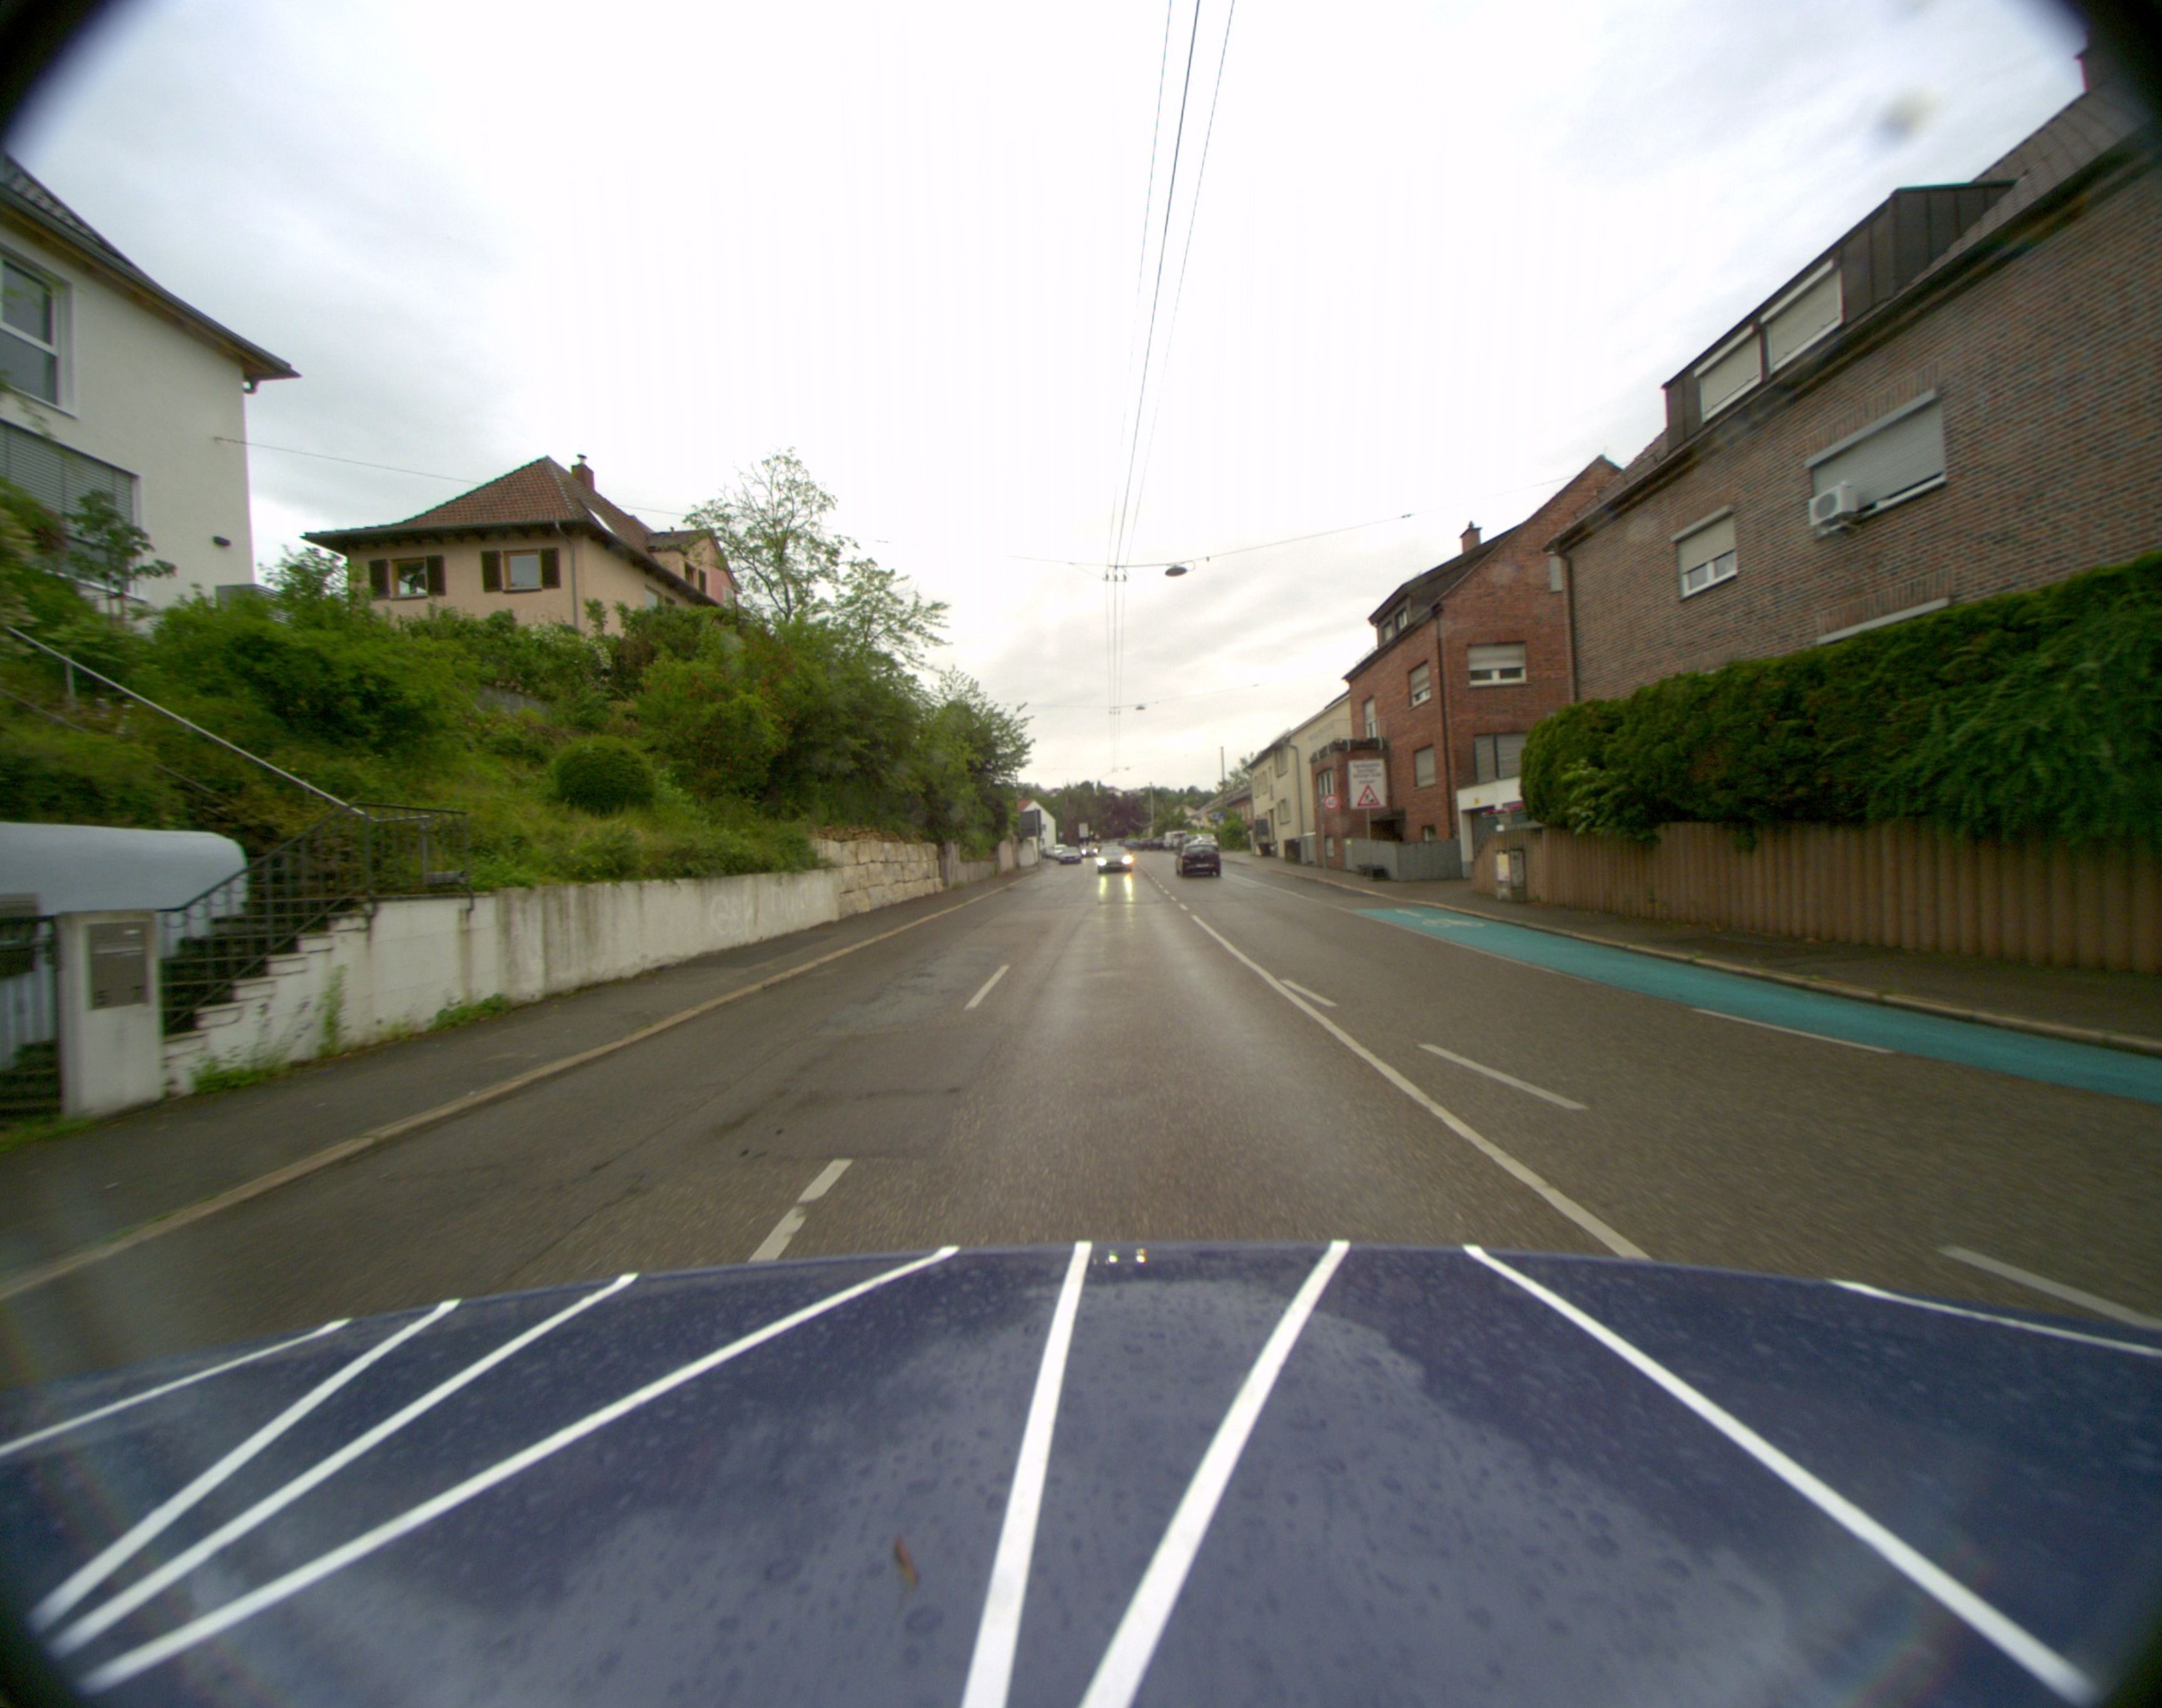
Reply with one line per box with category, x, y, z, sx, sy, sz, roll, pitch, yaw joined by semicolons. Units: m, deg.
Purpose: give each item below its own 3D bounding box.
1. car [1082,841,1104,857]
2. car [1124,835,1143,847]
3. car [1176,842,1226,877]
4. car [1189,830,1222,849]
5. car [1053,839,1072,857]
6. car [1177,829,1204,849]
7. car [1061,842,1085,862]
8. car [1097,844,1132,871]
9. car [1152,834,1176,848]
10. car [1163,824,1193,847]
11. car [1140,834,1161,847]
car;1.322;-0.611;86.018;1.999;1.678;3.998;-3;1;-4
car;6.822;-1.653;98.334;1.624;1.482;3.900;-5;1;-8
car;5.390;0.198;34.528;1.919;1.438;3.718;-2;1;5
car;11.066;-1.264;67.759;1.946;1.557;4.262;-4;1;-2
car;-2.113;-0.709;84.302;1.821;1.855;4.037;-2;2;-4
car;10.885;-1.519;75.913;1.815;1.793;4.262;-4;1;-2
car;-0.687;-0.147;67.883;2.003;1.596;4.359;-3;-1;1
car;1.871;0.151;43.669;1.870;1.407;3.999;-2;1;1
car;9.483;-1.499;87.236;1.654;1.482;4.008;-5;1;-10
car;10.410;-1.949;81.924;2.258;2.273;4.545;-4;1;-3
car;8.458;-1.663;93.201;1.654;1.388;3.858;-5;1;-8
